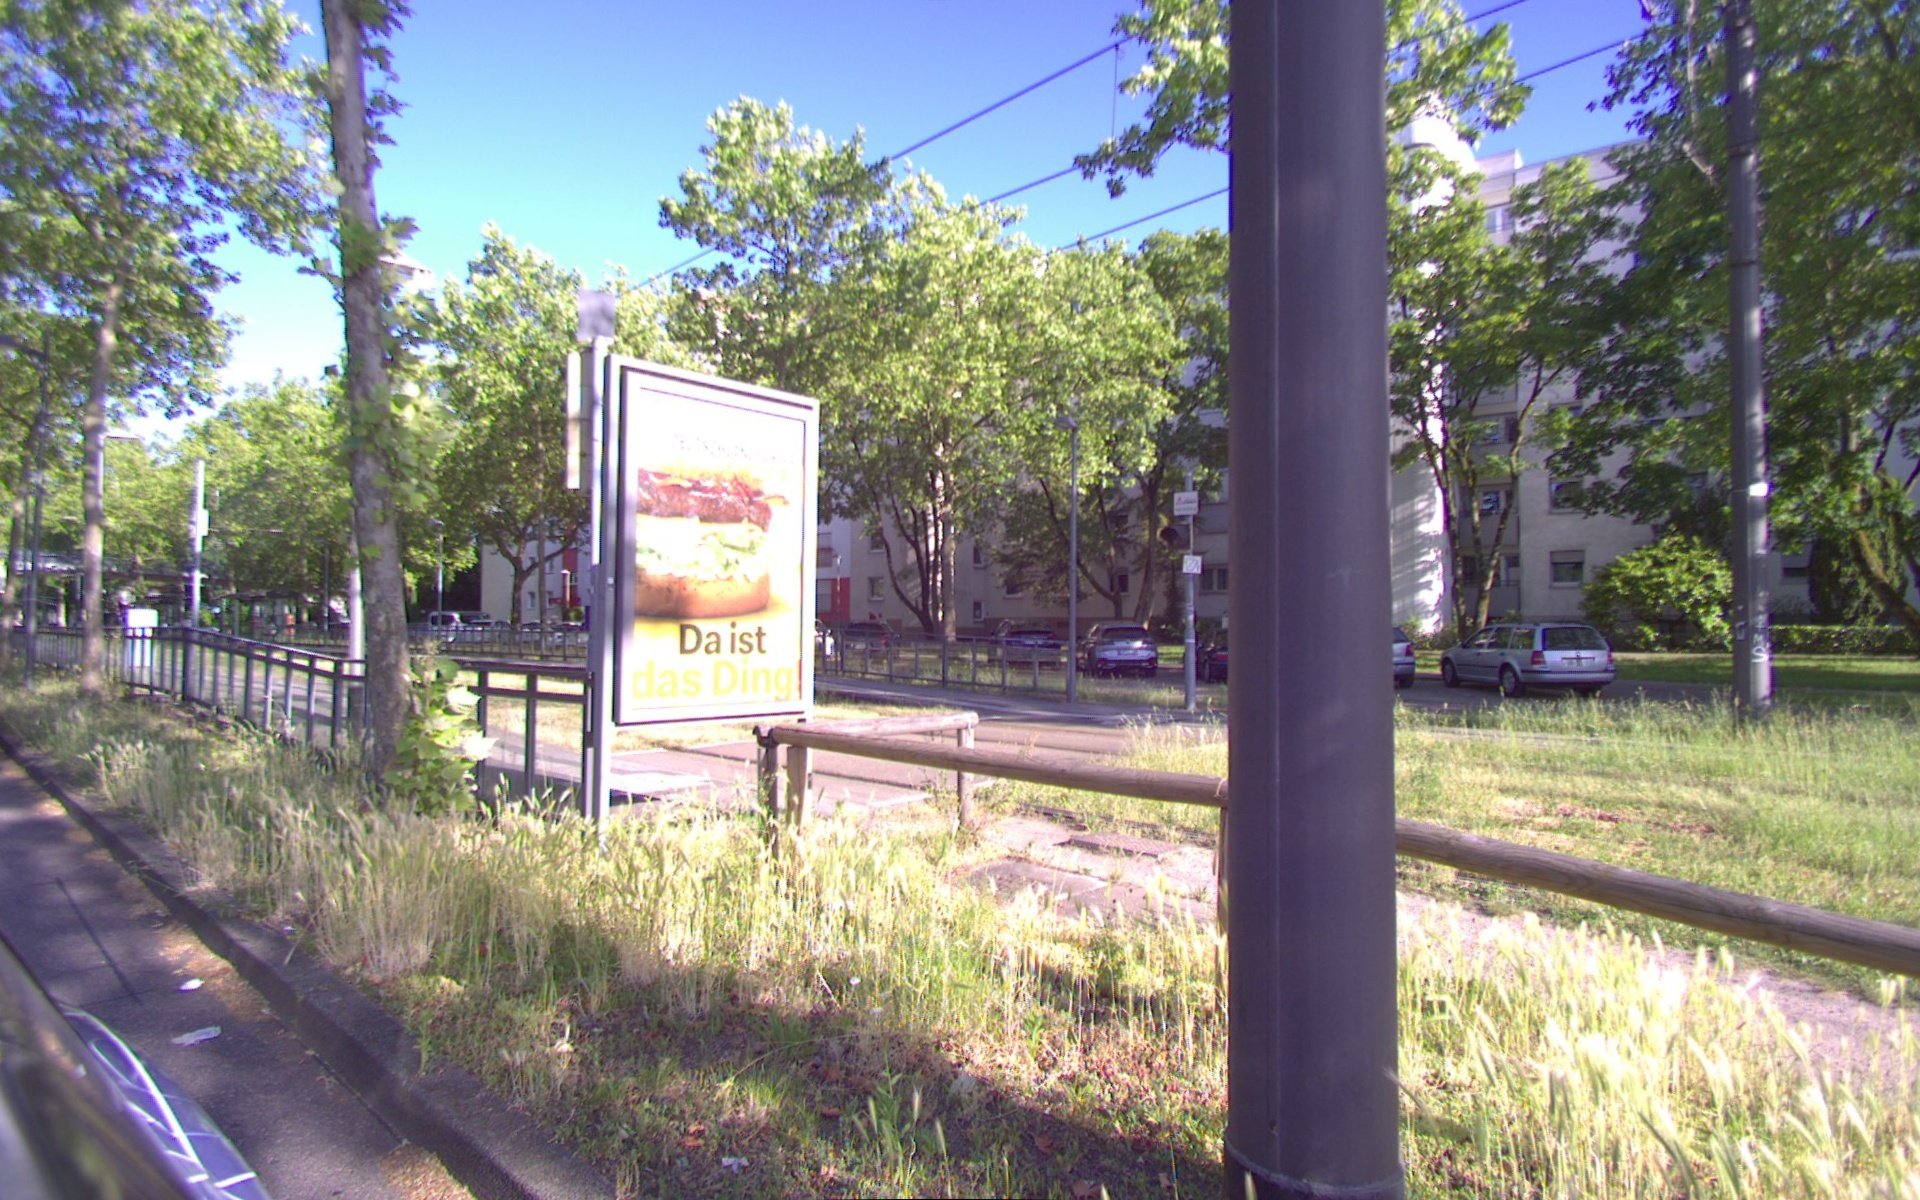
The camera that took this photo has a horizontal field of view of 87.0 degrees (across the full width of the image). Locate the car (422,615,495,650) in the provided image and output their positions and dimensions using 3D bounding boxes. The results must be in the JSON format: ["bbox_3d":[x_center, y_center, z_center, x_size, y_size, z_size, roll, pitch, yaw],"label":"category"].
[{"bbox_3d":[-28.320,1.825,57.326,1.898,1.898,4.365,0,-1,1],"label":"car"}]

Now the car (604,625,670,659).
[{"bbox_3d":[-14.076,1.819,44.278,1.627,1.403,3.679,0,-1,2],"label":"car"}]

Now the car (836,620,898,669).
[{"bbox_3d":[-3.101,1.459,34.466,1.664,1.579,3.679,0,-1,2],"label":"car"}]

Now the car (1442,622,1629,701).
[{"bbox_3d":[11.554,1.178,20.626,1.707,1.444,3.681,0,-1,1],"label":"car"}]

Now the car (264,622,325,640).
[{"bbox_3d":[-52.139,2.401,79.363,1.898,1.386,4.365,0,-1,1],"label":"car"}]

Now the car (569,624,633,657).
[{"bbox_3d":[-16.675,1.842,47.134,1.627,1.460,3.680,0,-1,1],"label":"car"}]

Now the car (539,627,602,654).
[{"bbox_3d":[-19.039,1.980,49.664,1.627,1.251,3.680,0,-1,1],"label":"car"}]

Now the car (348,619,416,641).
[{"bbox_3d":[-37.932,1.957,66.553,1.898,1.386,4.365,0,-1,1],"label":"car"}]

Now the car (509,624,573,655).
[{"bbox_3d":[-21.117,1.958,51.132,1.627,1.460,3.680,0,-1,1],"label":"car"}]

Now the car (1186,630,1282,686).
[{"bbox_3d":[6.736,1.402,25.205,1.602,1.256,3.677,0,-1,4],"label":"car"}]

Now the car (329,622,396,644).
[{"bbox_3d":[-40.276,2.202,68.390,1.898,1.386,4.365,0,-1,1],"label":"car"}]

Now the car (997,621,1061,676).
[{"bbox_3d":[1.940,1.368,29.444,1.664,1.482,3.680,0,-1,1],"label":"car"}]

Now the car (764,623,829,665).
[{"bbox_3d":[-5.903,1.572,36.916,1.664,1.444,3.679,0,-1,2],"label":"car"}]

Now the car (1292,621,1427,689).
[{"bbox_3d":[9.160,1.221,23.525,1.679,1.444,3.681,0,-1,1],"label":"car"}]

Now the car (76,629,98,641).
[{"bbox_3d":[-108.975,4.366,126.377,3.294,1.370,1.651,-1,-2,41],"label":"car"}]

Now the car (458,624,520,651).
[{"bbox_3d":[-25.792,2.034,55.517,1.627,1.407,3.680,0,-1,1],"label":"car"}]

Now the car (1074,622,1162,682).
[{"bbox_3d":[4.213,1.347,27.491,1.894,1.507,3.680,0,-1,2],"label":"car"}]

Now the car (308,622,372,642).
[{"bbox_3d":[-44.638,2.279,72.982,1.898,1.386,4.365,0,-1,1],"label":"car"}]
